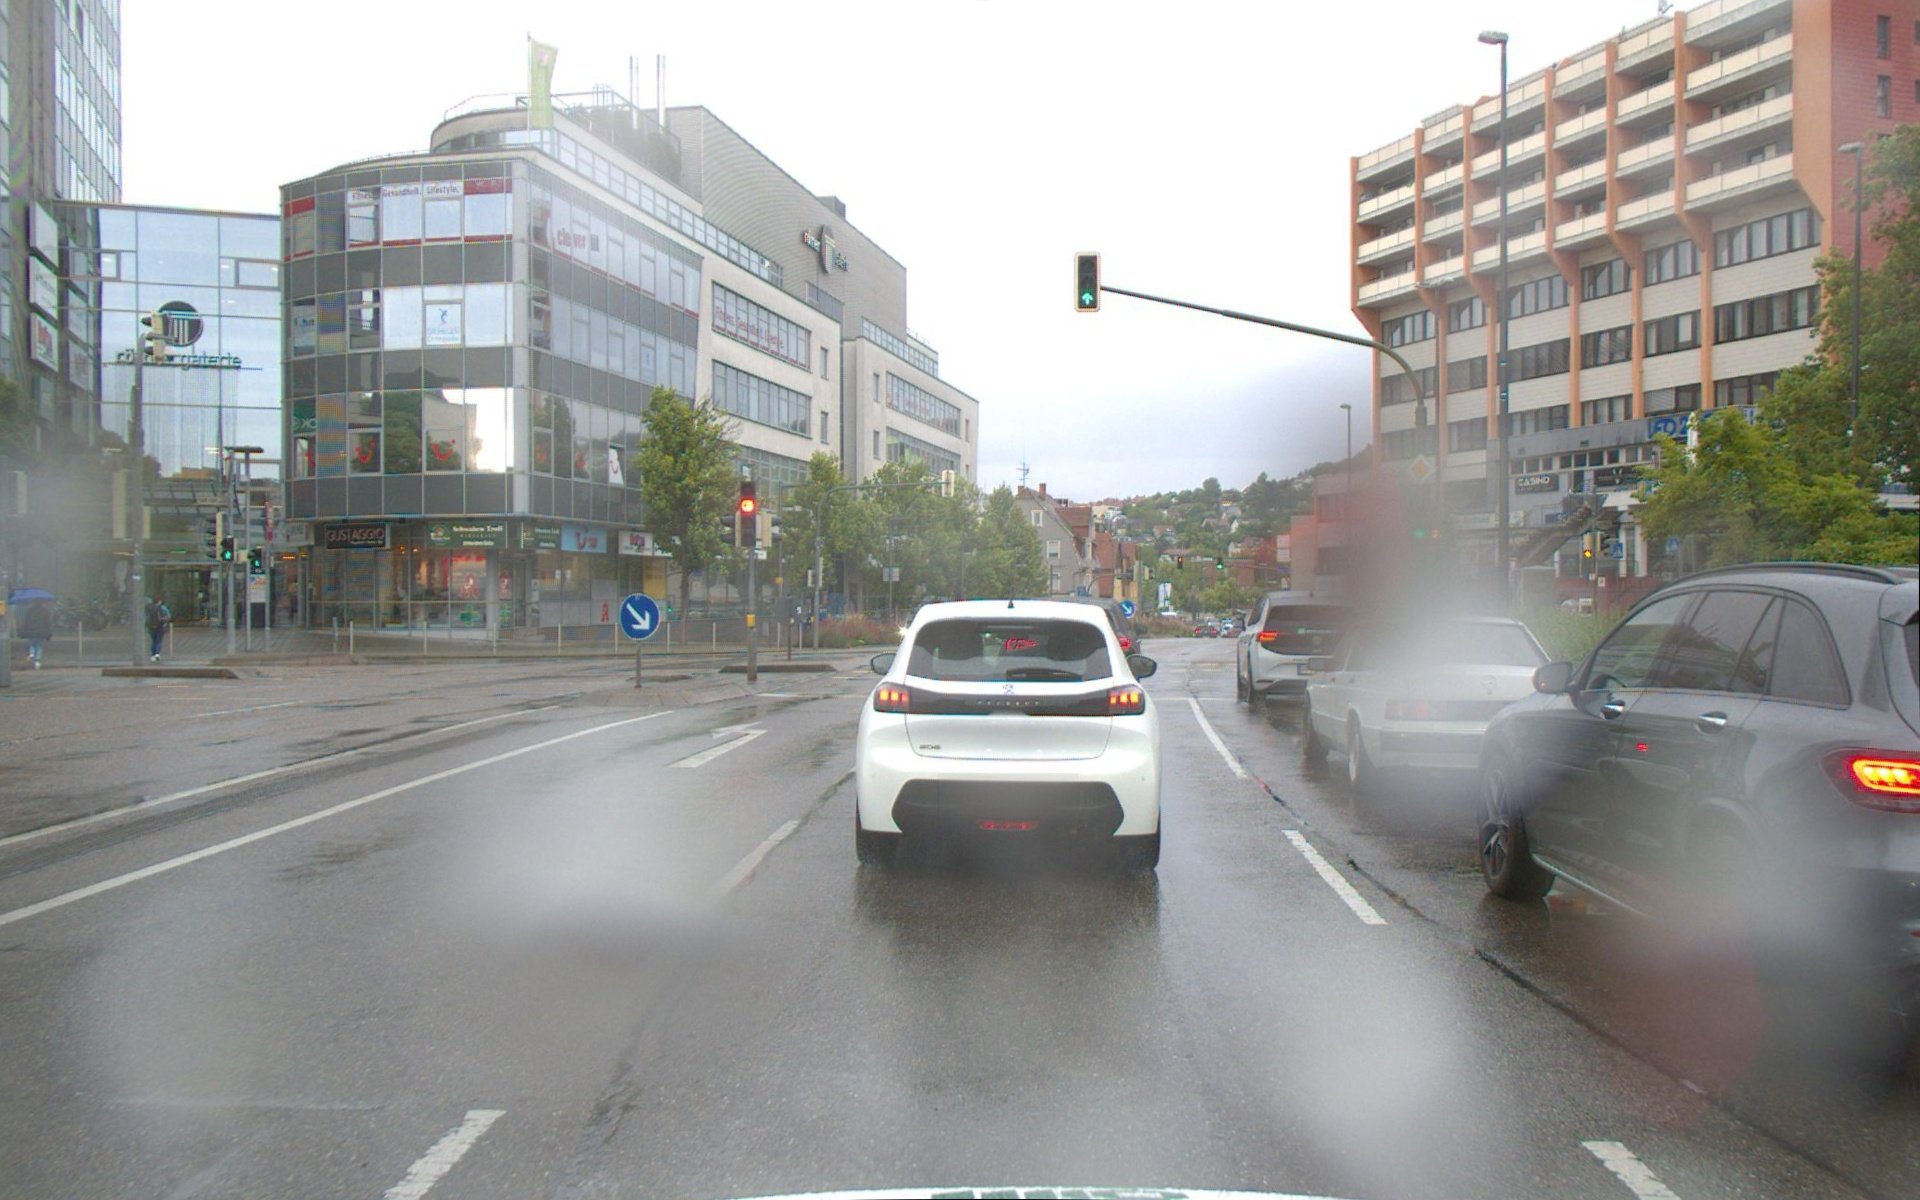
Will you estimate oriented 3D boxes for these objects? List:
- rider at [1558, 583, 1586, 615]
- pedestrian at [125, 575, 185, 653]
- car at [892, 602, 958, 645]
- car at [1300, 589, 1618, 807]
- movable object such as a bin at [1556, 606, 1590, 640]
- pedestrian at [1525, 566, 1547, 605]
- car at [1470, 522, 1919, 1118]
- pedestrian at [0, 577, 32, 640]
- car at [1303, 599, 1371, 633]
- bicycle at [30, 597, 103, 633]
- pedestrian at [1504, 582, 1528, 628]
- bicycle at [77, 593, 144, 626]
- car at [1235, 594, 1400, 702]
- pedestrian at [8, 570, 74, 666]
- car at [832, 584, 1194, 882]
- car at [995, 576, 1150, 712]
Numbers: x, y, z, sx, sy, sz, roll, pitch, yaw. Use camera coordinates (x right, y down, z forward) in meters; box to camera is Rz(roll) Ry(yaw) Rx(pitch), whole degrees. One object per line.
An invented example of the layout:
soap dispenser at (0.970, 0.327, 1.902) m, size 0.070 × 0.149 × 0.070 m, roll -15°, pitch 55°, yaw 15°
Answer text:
rider at (26.009, -0.035, 70.310) m, size 0.902 × 1.307 × 1.091 m, roll -3°, pitch 0°, yaw 11°
pedestrian at (-19.388, 0.339, 39.843) m, size 0.827 × 1.851 × 1.025 m, roll -1°, pitch 0°, yaw 13°
car at (-1.425, 0.946, 69.199) m, size 1.879 × 1.660 × 4.907 m, roll 1°, pitch 0°, yaw 10°
car at (3.913, 0.692, 13.663) m, size 1.599 × 1.473 × 4.271 m, roll 1°, pitch 0°, yaw 4°
movable object such as a bin at (26.069, 0.974, 70.381) m, size 1.106 × 1.355 × 1.456 m, roll 0°, pitch 2°, yaw 11°
pedestrian at (20.862, -0.520, 59.892) m, size 0.692 × 1.369 × 0.656 m, roll -1°, pitch -1°, yaw 15°
car at (3.602, 0.612, 6.717) m, size 1.862 × 1.649 × 4.337 m, roll 1°, pitch 0°, yaw 2°
pedestrian at (-30.644, 0.272, 53.622) m, size 0.698 × 2.049 × 0.764 m, roll 0°, pitch 0°, yaw -5°
car at (25.827, 1.081, 113.365) m, size 1.968 × 2.265 × 4.938 m, roll -1°, pitch 0°, yaw -24°
bicycle at (-32.154, 0.529, 59.534) m, size 2.240 × 1.268 × 0.672 m, roll 0°, pitch 0°, yaw -21°
pedestrian at (20.061, 0.177, 59.671) m, size 0.693 × 1.635 × 0.656 m, roll 3°, pitch 1°, yaw 17°
bicycle at (-33.105, 0.360, 64.473) m, size 2.240 × 1.268 × 0.672 m, roll 0°, pitch 0°, yaw -21°
car at (5.000, 0.638, 23.541) m, size 1.871 × 1.425 × 3.459 m, roll 0°, pitch 0°, yaw 5°
pedestrian at (-19.957, 0.381, 35.964) m, size 1.147 × 2.049 × 1.318 m, roll 0°, pitch 0°, yaw -25°
car at (0.373, 0.672, 10.386) m, size 1.832 × 1.487 × 3.875 m, roll 1°, pitch 0°, yaw 3°
car at (1.496, 0.502, 21.299) m, size 1.777 × 1.556 × 3.815 m, roll -1°, pitch 0°, yaw 5°
